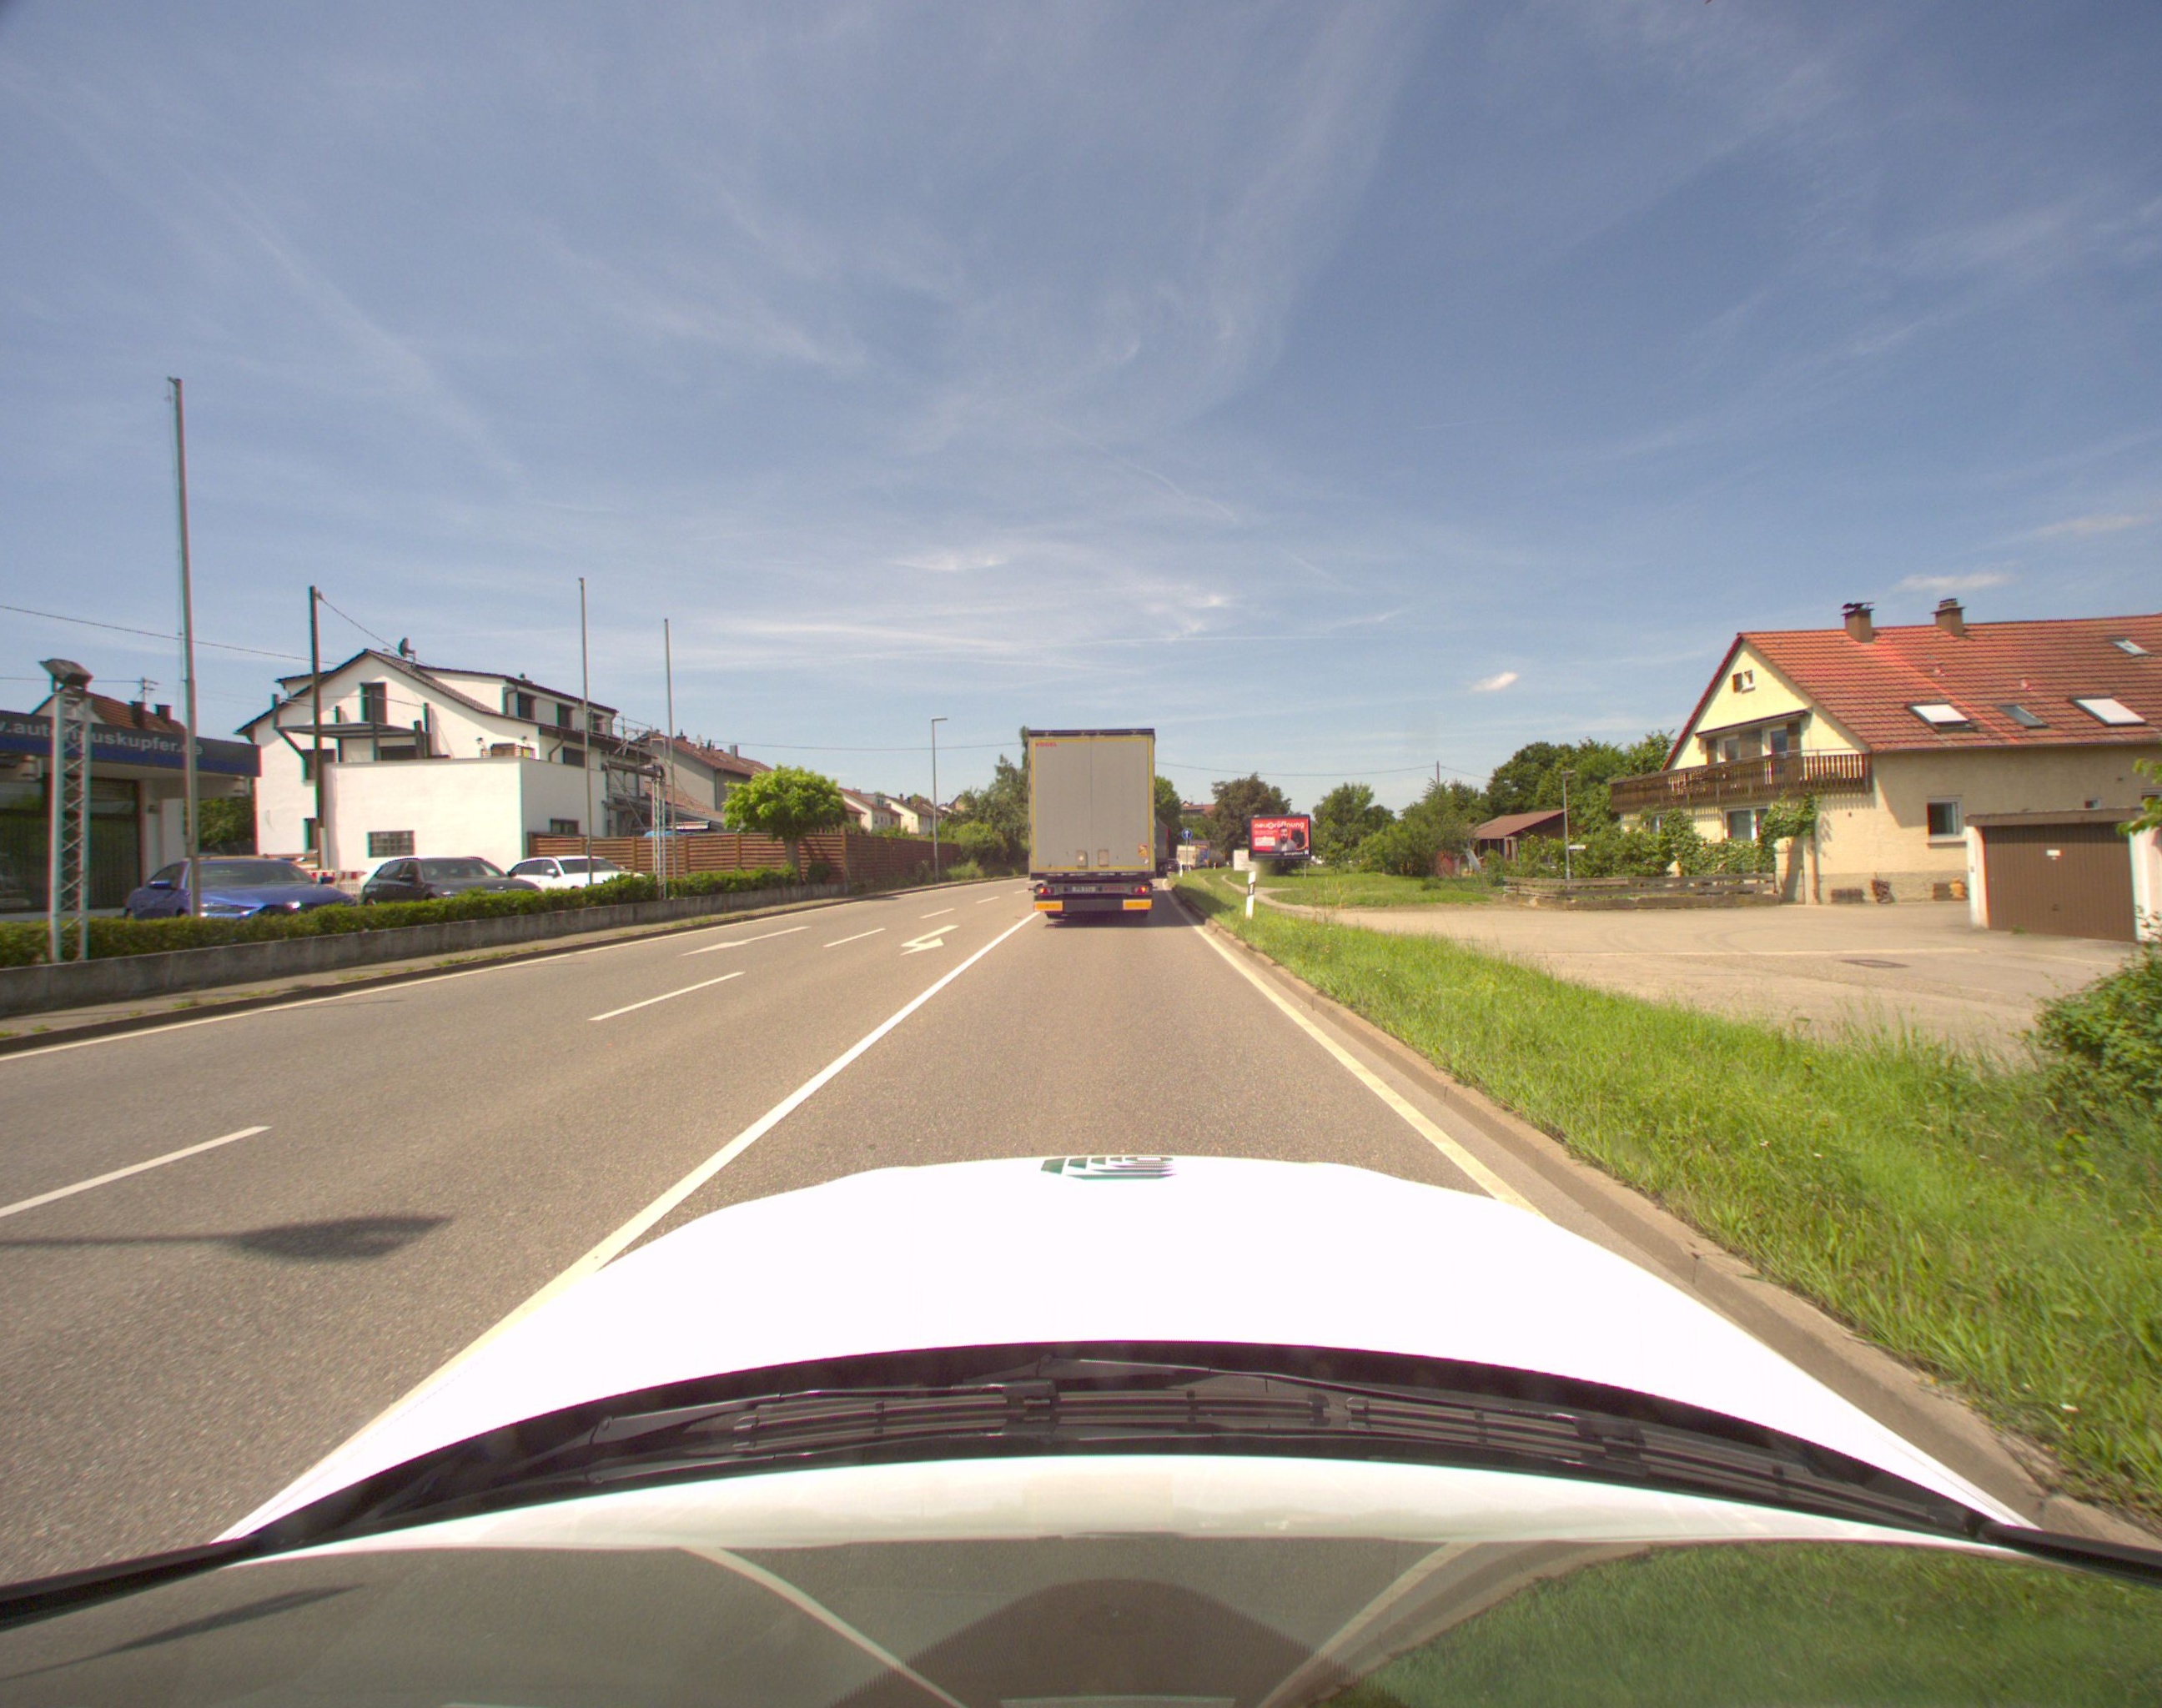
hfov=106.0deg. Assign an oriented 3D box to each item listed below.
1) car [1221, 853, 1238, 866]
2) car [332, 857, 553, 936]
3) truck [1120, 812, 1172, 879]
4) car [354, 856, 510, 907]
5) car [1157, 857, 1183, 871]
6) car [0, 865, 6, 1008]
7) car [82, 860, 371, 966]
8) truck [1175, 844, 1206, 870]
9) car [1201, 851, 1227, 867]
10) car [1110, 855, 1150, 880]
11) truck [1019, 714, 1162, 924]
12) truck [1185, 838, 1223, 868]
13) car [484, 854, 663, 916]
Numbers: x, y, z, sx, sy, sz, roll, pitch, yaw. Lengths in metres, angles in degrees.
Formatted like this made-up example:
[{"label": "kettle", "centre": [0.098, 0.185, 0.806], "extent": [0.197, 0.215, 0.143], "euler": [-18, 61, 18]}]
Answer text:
[{"label": "car", "centre": [22.948, 0.822, 126.024], "extent": [1.977, 2.014, 4.019], "euler": [0, -1, 18]}, {"label": "car", "centre": [-13.117, 0.797, 16.704], "extent": [4.288, 1.447, 1.910], "euler": [0, -1, 27]}, {"label": "truck", "centre": [5.102, -0.404, 60.587], "extent": [2.744, 4.289, 16.453], "euler": [0, -1, 8]}, {"label": "car", "centre": [-20.509, 0.828, 25.780], "extent": [3.957, 1.510, 1.842], "euler": [0, 0, 15]}, {"label": "car", "centre": [8.859, 1.020, 81.072], "extent": [1.979, 1.376, 4.015], "euler": [0, -1, 15]}, {"label": "car", "centre": [-13.294, 0.841, 8.744], "extent": [4.457, 1.447, 1.869], "euler": [0, 0, 34]}, {"label": "car", "centre": [-13.527, 0.825, 12.884], "extent": [4.288, 1.447, 1.868], "euler": [0, -1, 25]}, {"label": "truck", "centre": [12.540, 0.397, 93.254], "extent": [2.523, 2.803, 6.058], "euler": [0, -1, 17]}, {"label": "car", "centre": [18.574, 0.675, 113.499], "extent": [2.511, 2.277, 6.411], "euler": [0, 0, 18]}, {"label": "car", "centre": [2.787, 0.775, 45.739], "extent": [1.807, 1.346, 3.858], "euler": [0, -1, 10]}, {"label": "truck", "centre": [0.357, -0.670, 21.738], "extent": [2.811, 4.128, 11.447], "euler": [0, 0, 2]}, {"label": "truck", "centre": [15.942, -0.160, 105.042], "extent": [3.405, 3.604, 9.397], "euler": [0, 0, 18]}, {"label": "car", "centre": [-12.855, 0.738, 20.587], "extent": [4.288, 1.447, 1.868], "euler": [0, -1, 27]}]
